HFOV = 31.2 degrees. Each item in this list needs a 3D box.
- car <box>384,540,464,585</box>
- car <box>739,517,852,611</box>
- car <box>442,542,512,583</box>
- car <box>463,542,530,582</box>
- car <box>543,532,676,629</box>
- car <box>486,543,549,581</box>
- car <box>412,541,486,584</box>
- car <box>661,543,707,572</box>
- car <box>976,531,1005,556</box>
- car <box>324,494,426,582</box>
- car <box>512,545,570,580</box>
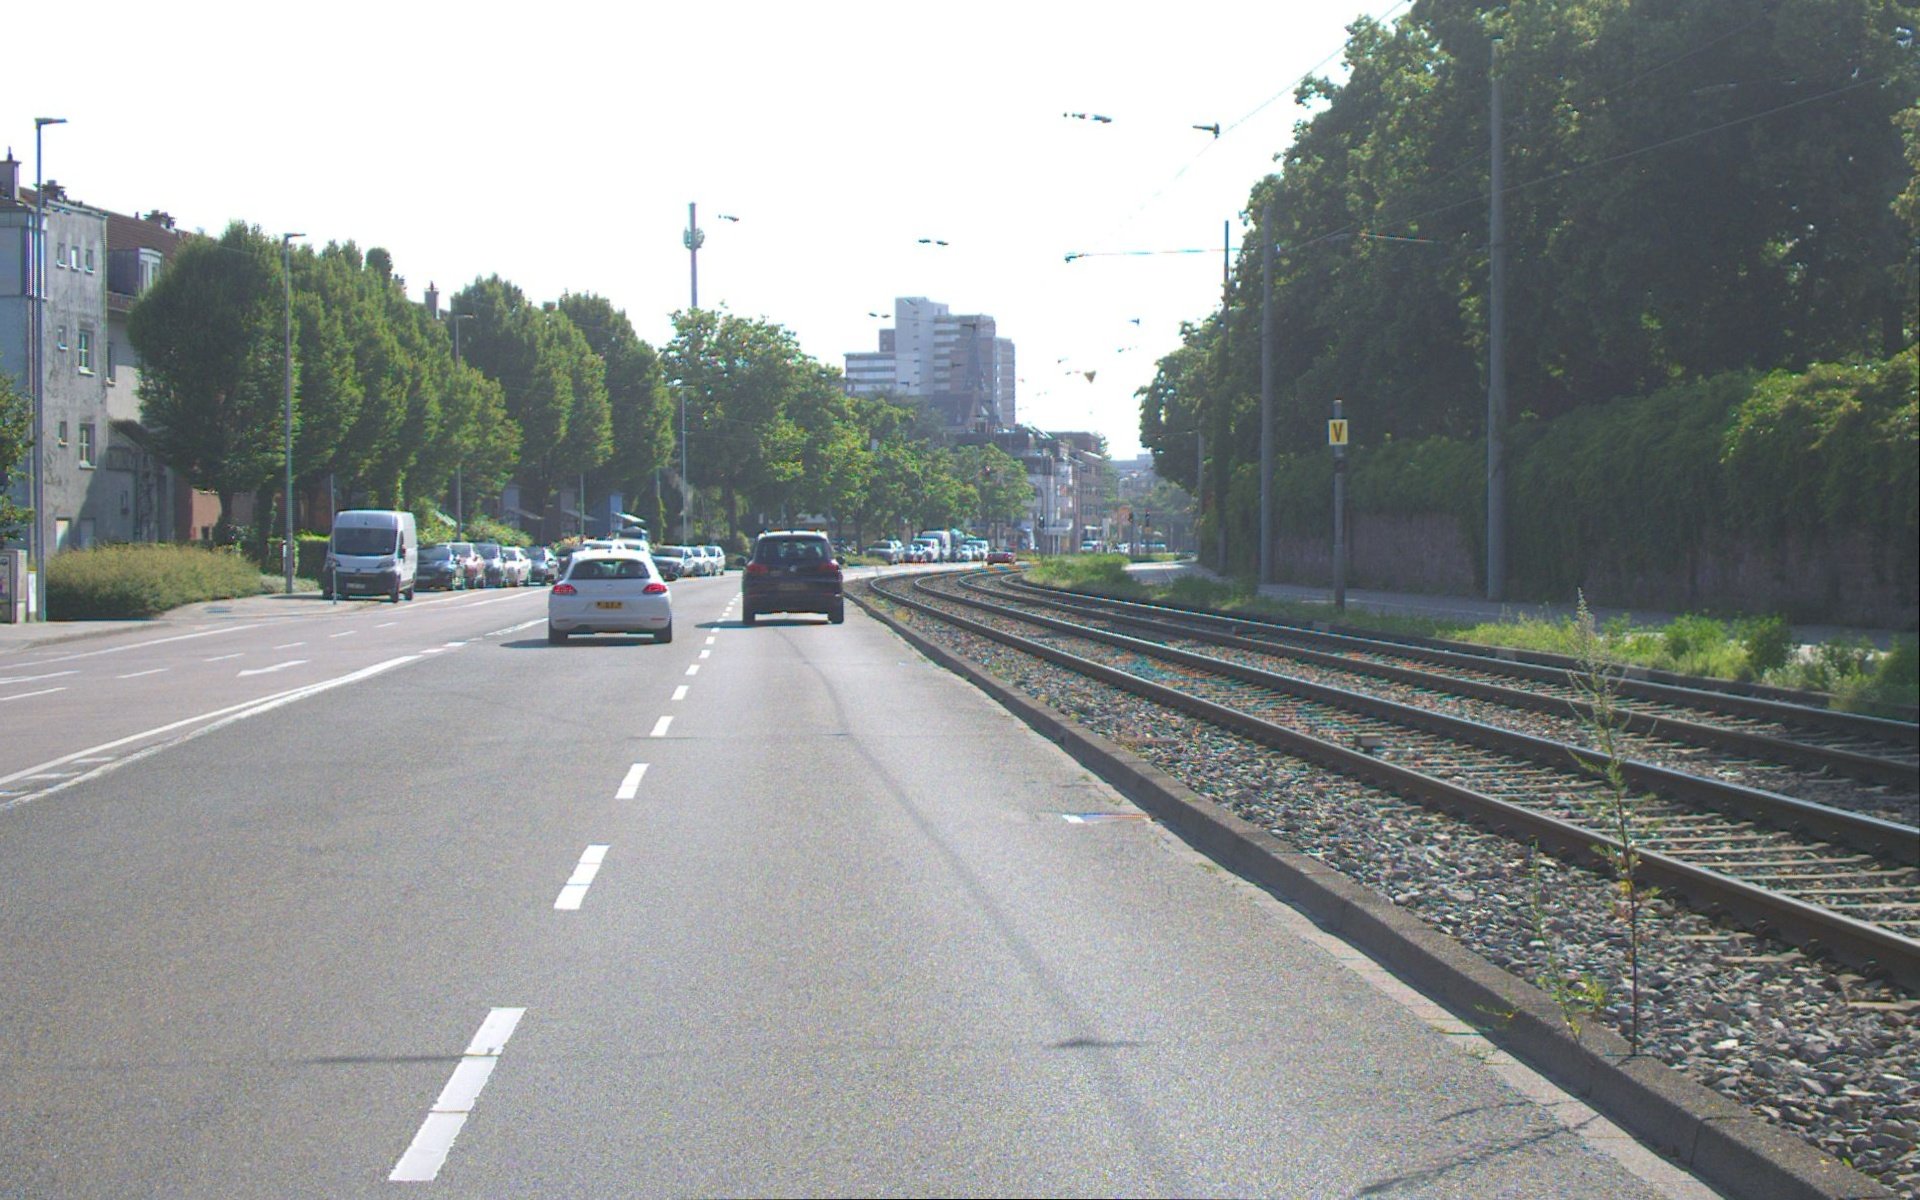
[{"bbox_3d":[-17.167,-1.216,110.232,1.993,1.411,3.844,-1,1,-1],"label":"car"},{"bbox_3d":[-2.982,-0.664,61.750,1.724,1.587,3.602,1,1,-7],"label":"car"},{"bbox_3d":[-17.123,-1.344,122.000,1.993,1.411,3.844,-1,1,-1],"label":"car"},{"bbox_3d":[-17.149,-1.411,127.263,1.993,1.411,3.844,-1,1,-1],"label":"car"},{"bbox_3d":[-5.188,-0.320,51.248,1.780,1.351,3.602,1,1,-3],"label":"car"},{"bbox_3d":[-17.084,-1.472,132.877,1.993,1.411,3.844,-1,1,-1],"label":"car"},{"bbox_3d":[-17.270,-1.282,116.300,1.993,1.411,3.844,-1,1,-1],"label":"car"},{"bbox_3d":[-13.738,-2.118,171.324,1.993,1.411,3.844,-1,1,-1],"label":"car"},{"bbox_3d":[1.964,-3.623,220.229,1.724,1.587,3.601,2,1,3],"label":"car"},{"bbox_3d":[-16.123,-1.721,94.928,1.993,2.368,4.539,-1,1,0],"label":"car"},{"bbox_3d":[-17.604,-1.590,144.585,1.993,1.411,3.844,-1,1,-1],"label":"car"}]
